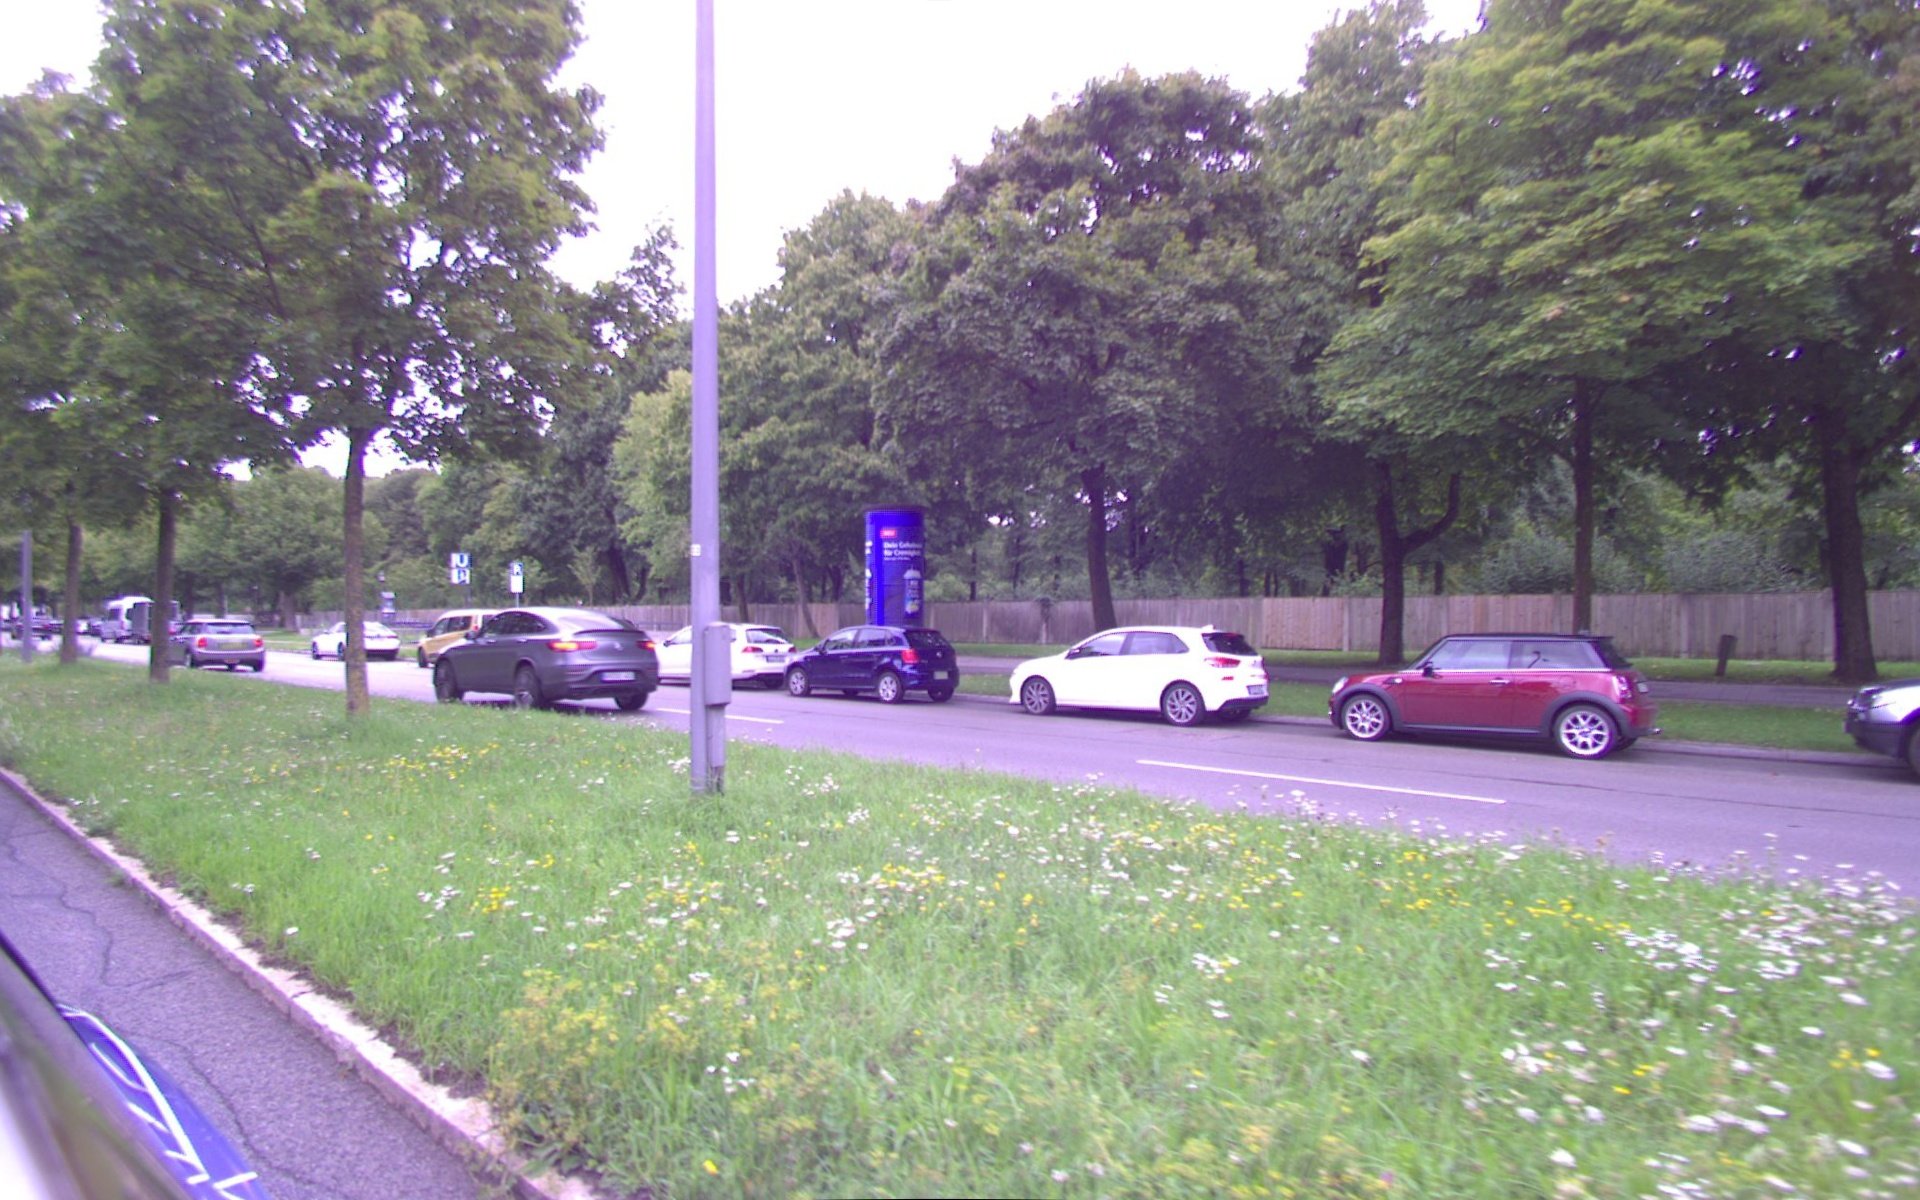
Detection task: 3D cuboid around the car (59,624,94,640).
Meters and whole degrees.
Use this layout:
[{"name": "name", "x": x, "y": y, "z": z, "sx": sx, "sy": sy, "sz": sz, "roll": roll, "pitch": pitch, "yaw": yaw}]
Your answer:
[{"name": "car", "x": -80.784, "y": 2.922, "z": 92.556, "sx": 4.037, "sy": 1.420, "sz": 1.696, "roll": -1, "pitch": -2, "yaw": 39}]

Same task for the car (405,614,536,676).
[{"name": "car", "x": -15.186, "y": 1.368, "z": 31.302, "sx": 4.529, "sy": 1.784, "sz": 1.839, "roll": -1, "pitch": -2, "yaw": 39}]

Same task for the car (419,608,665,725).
[{"name": "car", "x": -6.730, "y": 0.973, "z": 16.067, "sx": 4.499, "sy": 1.601, "sz": 1.802, "roll": -2, "pitch": -2, "yaw": 41}]

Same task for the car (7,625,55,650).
[{"name": "car", "x": -64.139, "y": 2.574, "z": 69.862, "sx": 4.498, "sy": 1.682, "sz": 1.842, "roll": -1, "pitch": -3, "yaw": 41}]

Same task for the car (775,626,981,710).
[{"name": "car", "x": -1.635, "y": 1.263, "z": 19.636, "sx": 3.783, "sy": 1.457, "sz": 1.804, "roll": -1, "pitch": -4, "yaw": 39}]

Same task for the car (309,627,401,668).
[{"name": "car", "x": -22.951, "y": 1.776, "z": 38.351, "sx": 4.037, "sy": 1.454, "sz": 1.696, "roll": -1, "pitch": -2, "yaw": 39}]

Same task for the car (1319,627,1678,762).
[{"name": "car", "x": 6.613, "y": 1.080, "z": 12.636, "sx": 3.685, "sy": 1.433, "sz": 1.632, "roll": -1, "pitch": -4, "yaw": 42}]

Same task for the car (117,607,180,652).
[{"name": "car", "x": -48.379, "y": 1.754, "z": 60.307, "sx": 4.495, "sy": 2.611, "sz": 1.974, "roll": -1, "pitch": -3, "yaw": 39}]

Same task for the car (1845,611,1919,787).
[{"name": "car", "x": 10.889, "y": 0.922, "z": 9.014, "sx": 4.453, "sy": 1.643, "sz": 1.803, "roll": -1, "pitch": -2, "yaw": 41}]

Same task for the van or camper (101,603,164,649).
[{"name": "van or camper", "x": -51.906, "y": 1.635, "z": 63.457, "sx": 4.926, "sy": 2.829, "sz": 1.974, "roll": -1, "pitch": -3, "yaw": 39}]

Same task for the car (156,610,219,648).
[{"name": "car", "x": -42.360, "y": 1.565, "z": 55.477, "sx": 3.997, "sy": 2.029, "sz": 1.973, "roll": -1, "pitch": -1, "yaw": 40}]

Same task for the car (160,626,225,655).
[{"name": "car", "x": -39.238, "y": 2.068, "z": 51.724, "sx": 4.037, "sy": 1.420, "sz": 1.696, "roll": -1, "pitch": -2, "yaw": 39}]

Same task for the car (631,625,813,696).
[{"name": "car", "x": -5.530, "y": 1.332, "z": 23.276, "sx": 4.296, "sy": 1.481, "sz": 1.804, "roll": -1, "pitch": -2, "yaw": 39}]

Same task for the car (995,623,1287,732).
[{"name": "car", "x": 2.773, "y": 1.147, "z": 16.055, "sx": 4.258, "sy": 1.488, "sz": 1.802, "roll": -1, "pitch": -4, "yaw": 42}]

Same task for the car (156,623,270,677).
[{"name": "car", "x": -20.571, "y": 1.352, "z": 27.835, "sx": 3.765, "sy": 1.393, "sz": 1.700, "roll": -1, "pitch": -4, "yaw": 41}]
